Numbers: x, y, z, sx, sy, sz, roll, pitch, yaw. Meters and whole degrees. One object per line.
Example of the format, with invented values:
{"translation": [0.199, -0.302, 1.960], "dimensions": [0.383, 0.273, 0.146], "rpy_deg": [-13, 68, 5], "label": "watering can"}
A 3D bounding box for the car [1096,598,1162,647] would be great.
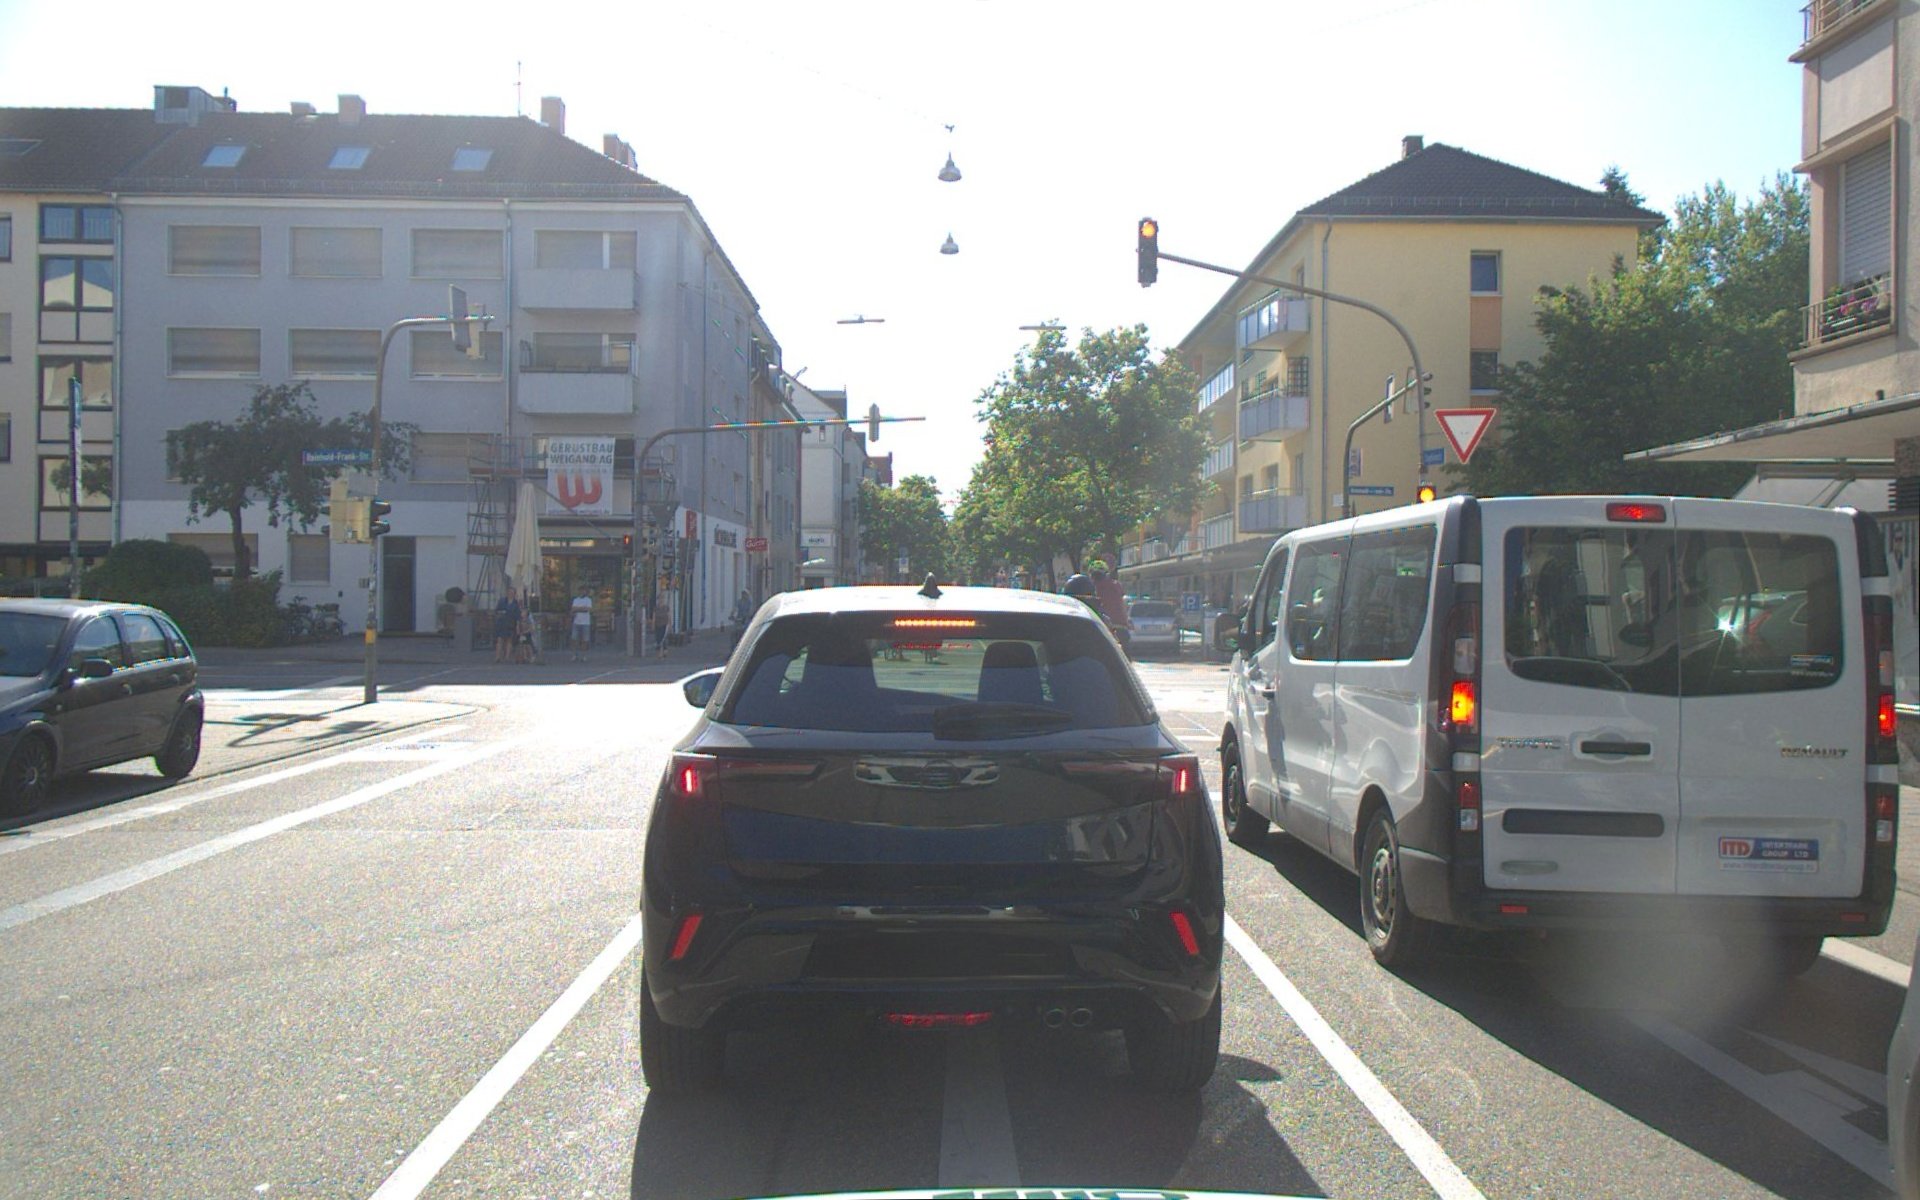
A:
{"translation": [5.278, 0.688, 52.007], "dimensions": [1.601, 1.458, 3.999], "rpy_deg": [0, 0, -1], "label": "car"}

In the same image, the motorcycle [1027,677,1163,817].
{"translation": [0.956, 1.043, 12.190], "dimensions": [0.808, 0.860, 1.884], "rpy_deg": [0, 0, -1], "label": "motorcycle"}

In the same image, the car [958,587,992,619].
{"translation": [0.806, 0.165, 94.089], "dimensions": [1.863, 1.758, 4.073], "rpy_deg": [0, 0, 0], "label": "car"}

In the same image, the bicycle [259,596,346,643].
{"translation": [-16.872, 0.494, 42.456], "dimensions": [2.067, 1.193, 0.735], "rpy_deg": [0, 0, -25], "label": "bicycle"}

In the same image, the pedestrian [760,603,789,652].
{"translation": [-4.878, 0.711, 43.470], "dimensions": [0.692, 1.275, 0.802], "rpy_deg": [0, 0, -3], "label": "pedestrian"}

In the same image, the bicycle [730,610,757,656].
{"translation": [-5.705, 0.852, 43.617], "dimensions": [0.511, 1.167, 2.282], "rpy_deg": [0, 0, -3], "label": "bicycle"}

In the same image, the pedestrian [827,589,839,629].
{"translation": [-5.385, 0.376, 70.167], "dimensions": [0.478, 1.719, 0.588], "rpy_deg": [0, 0, -1], "label": "pedestrian"}

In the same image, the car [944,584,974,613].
{"translation": [-0.060, -0.087, 104.353], "dimensions": [1.863, 1.758, 4.000], "rpy_deg": [0, 0, 0], "label": "car"}

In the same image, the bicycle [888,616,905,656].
{"translation": [-1.698, 0.935, 43.842], "dimensions": [0.434, 1.010, 2.068], "rpy_deg": [0, 0, -3], "label": "bicycle"}

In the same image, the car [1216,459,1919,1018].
{"translation": [2.720, 0.506, 8.552], "dimensions": [1.953, 2.014, 4.895], "rpy_deg": [2, 0, -1], "label": "car"}

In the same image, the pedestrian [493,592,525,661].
{"translation": [-10.143, 0.596, 37.234], "dimensions": [0.573, 1.547, 0.649], "rpy_deg": [0, 0, -4], "label": "pedestrian"}

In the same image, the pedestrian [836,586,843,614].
{"translation": [-7.339, -0.009, 100.386], "dimensions": [0.394, 1.704, 0.417], "rpy_deg": [0, 0, -1], "label": "pedestrian"}

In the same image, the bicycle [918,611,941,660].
{"translation": [-0.756, 0.861, 41.195], "dimensions": [0.511, 1.167, 2.169], "rpy_deg": [0, 0, -3], "label": "bicycle"}

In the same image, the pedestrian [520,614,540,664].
{"translation": [-9.675, 0.874, 37.239], "dimensions": [0.348, 1.111, 0.461], "rpy_deg": [0, 0, -4], "label": "pedestrian"}

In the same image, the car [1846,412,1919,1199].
{"translation": [2.995, 0.578, 1.223], "dimensions": [1.800, 1.901, 4.993], "rpy_deg": [0, 0, -3], "label": "car"}

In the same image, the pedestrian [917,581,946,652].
{"translation": [-0.719, 0.407, 41.024], "dimensions": [0.692, 1.731, 0.802], "rpy_deg": [0, 0, -3], "label": "pedestrian"}

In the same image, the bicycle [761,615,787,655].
{"translation": [-4.896, 0.906, 43.685], "dimensions": [0.511, 1.010, 2.338], "rpy_deg": [0, 0, -3], "label": "bicycle"}

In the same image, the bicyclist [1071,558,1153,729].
{"translation": [1.600, 0.442, 17.590], "dimensions": [0.675, 1.742, 1.413], "rpy_deg": [0, 0, -3], "label": "bicyclist"}

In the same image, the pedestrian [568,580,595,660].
{"translation": [-8.649, 0.453, 37.793], "dimensions": [0.550, 1.806, 0.582], "rpy_deg": [1, 0, -9], "label": "pedestrian"}

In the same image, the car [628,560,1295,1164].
{"translation": [-0.074, 0.672, 6.310], "dimensions": [1.735, 1.557, 3.998], "rpy_deg": [0, 0, -3], "label": "car"}

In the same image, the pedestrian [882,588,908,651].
{"translation": [-1.721, 0.515, 43.709], "dimensions": [0.666, 1.634, 0.762], "rpy_deg": [0, 0, -3], "label": "pedestrian"}

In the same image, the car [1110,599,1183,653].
{"translation": [5.290, 0.720, 47.295], "dimensions": [1.601, 1.458, 3.956], "rpy_deg": [0, 0, -1], "label": "car"}

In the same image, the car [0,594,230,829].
{"translation": [-7.075, 0.725, 12.360], "dimensions": [1.584, 1.450, 3.709], "rpy_deg": [3, 0, -1], "label": "car"}

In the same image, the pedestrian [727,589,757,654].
{"translation": [-5.711, 0.557, 43.382], "dimensions": [0.692, 1.707, 0.802], "rpy_deg": [0, 0, -3], "label": "pedestrian"}

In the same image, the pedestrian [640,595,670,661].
{"translation": [-7.235, 0.652, 39.291], "dimensions": [0.605, 1.547, 0.724], "rpy_deg": [0, 0, -4], "label": "pedestrian"}

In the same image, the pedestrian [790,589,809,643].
{"translation": [-5.113, 0.512, 52.662], "dimensions": [0.558, 1.719, 0.588], "rpy_deg": [0, 0, -1], "label": "pedestrian"}

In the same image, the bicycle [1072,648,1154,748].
{"translation": [1.598, 1.008, 17.575], "dimensions": [0.565, 0.920, 2.300], "rpy_deg": [0, 0, -3], "label": "bicycle"}

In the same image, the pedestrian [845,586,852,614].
{"translation": [-6.745, -0.005, 100.148], "dimensions": [0.394, 1.704, 0.417], "rpy_deg": [0, 0, -1], "label": "pedestrian"}

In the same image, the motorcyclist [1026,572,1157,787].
{"translation": [0.963, 0.567, 12.402], "dimensions": [0.846, 1.528, 1.159], "rpy_deg": [0, 0, -2], "label": "motorcyclist"}

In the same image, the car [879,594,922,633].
{"translation": [-2.760, 0.614, 77.029], "dimensions": [1.787, 1.758, 4.000], "rpy_deg": [0, 0, 1], "label": "car"}
